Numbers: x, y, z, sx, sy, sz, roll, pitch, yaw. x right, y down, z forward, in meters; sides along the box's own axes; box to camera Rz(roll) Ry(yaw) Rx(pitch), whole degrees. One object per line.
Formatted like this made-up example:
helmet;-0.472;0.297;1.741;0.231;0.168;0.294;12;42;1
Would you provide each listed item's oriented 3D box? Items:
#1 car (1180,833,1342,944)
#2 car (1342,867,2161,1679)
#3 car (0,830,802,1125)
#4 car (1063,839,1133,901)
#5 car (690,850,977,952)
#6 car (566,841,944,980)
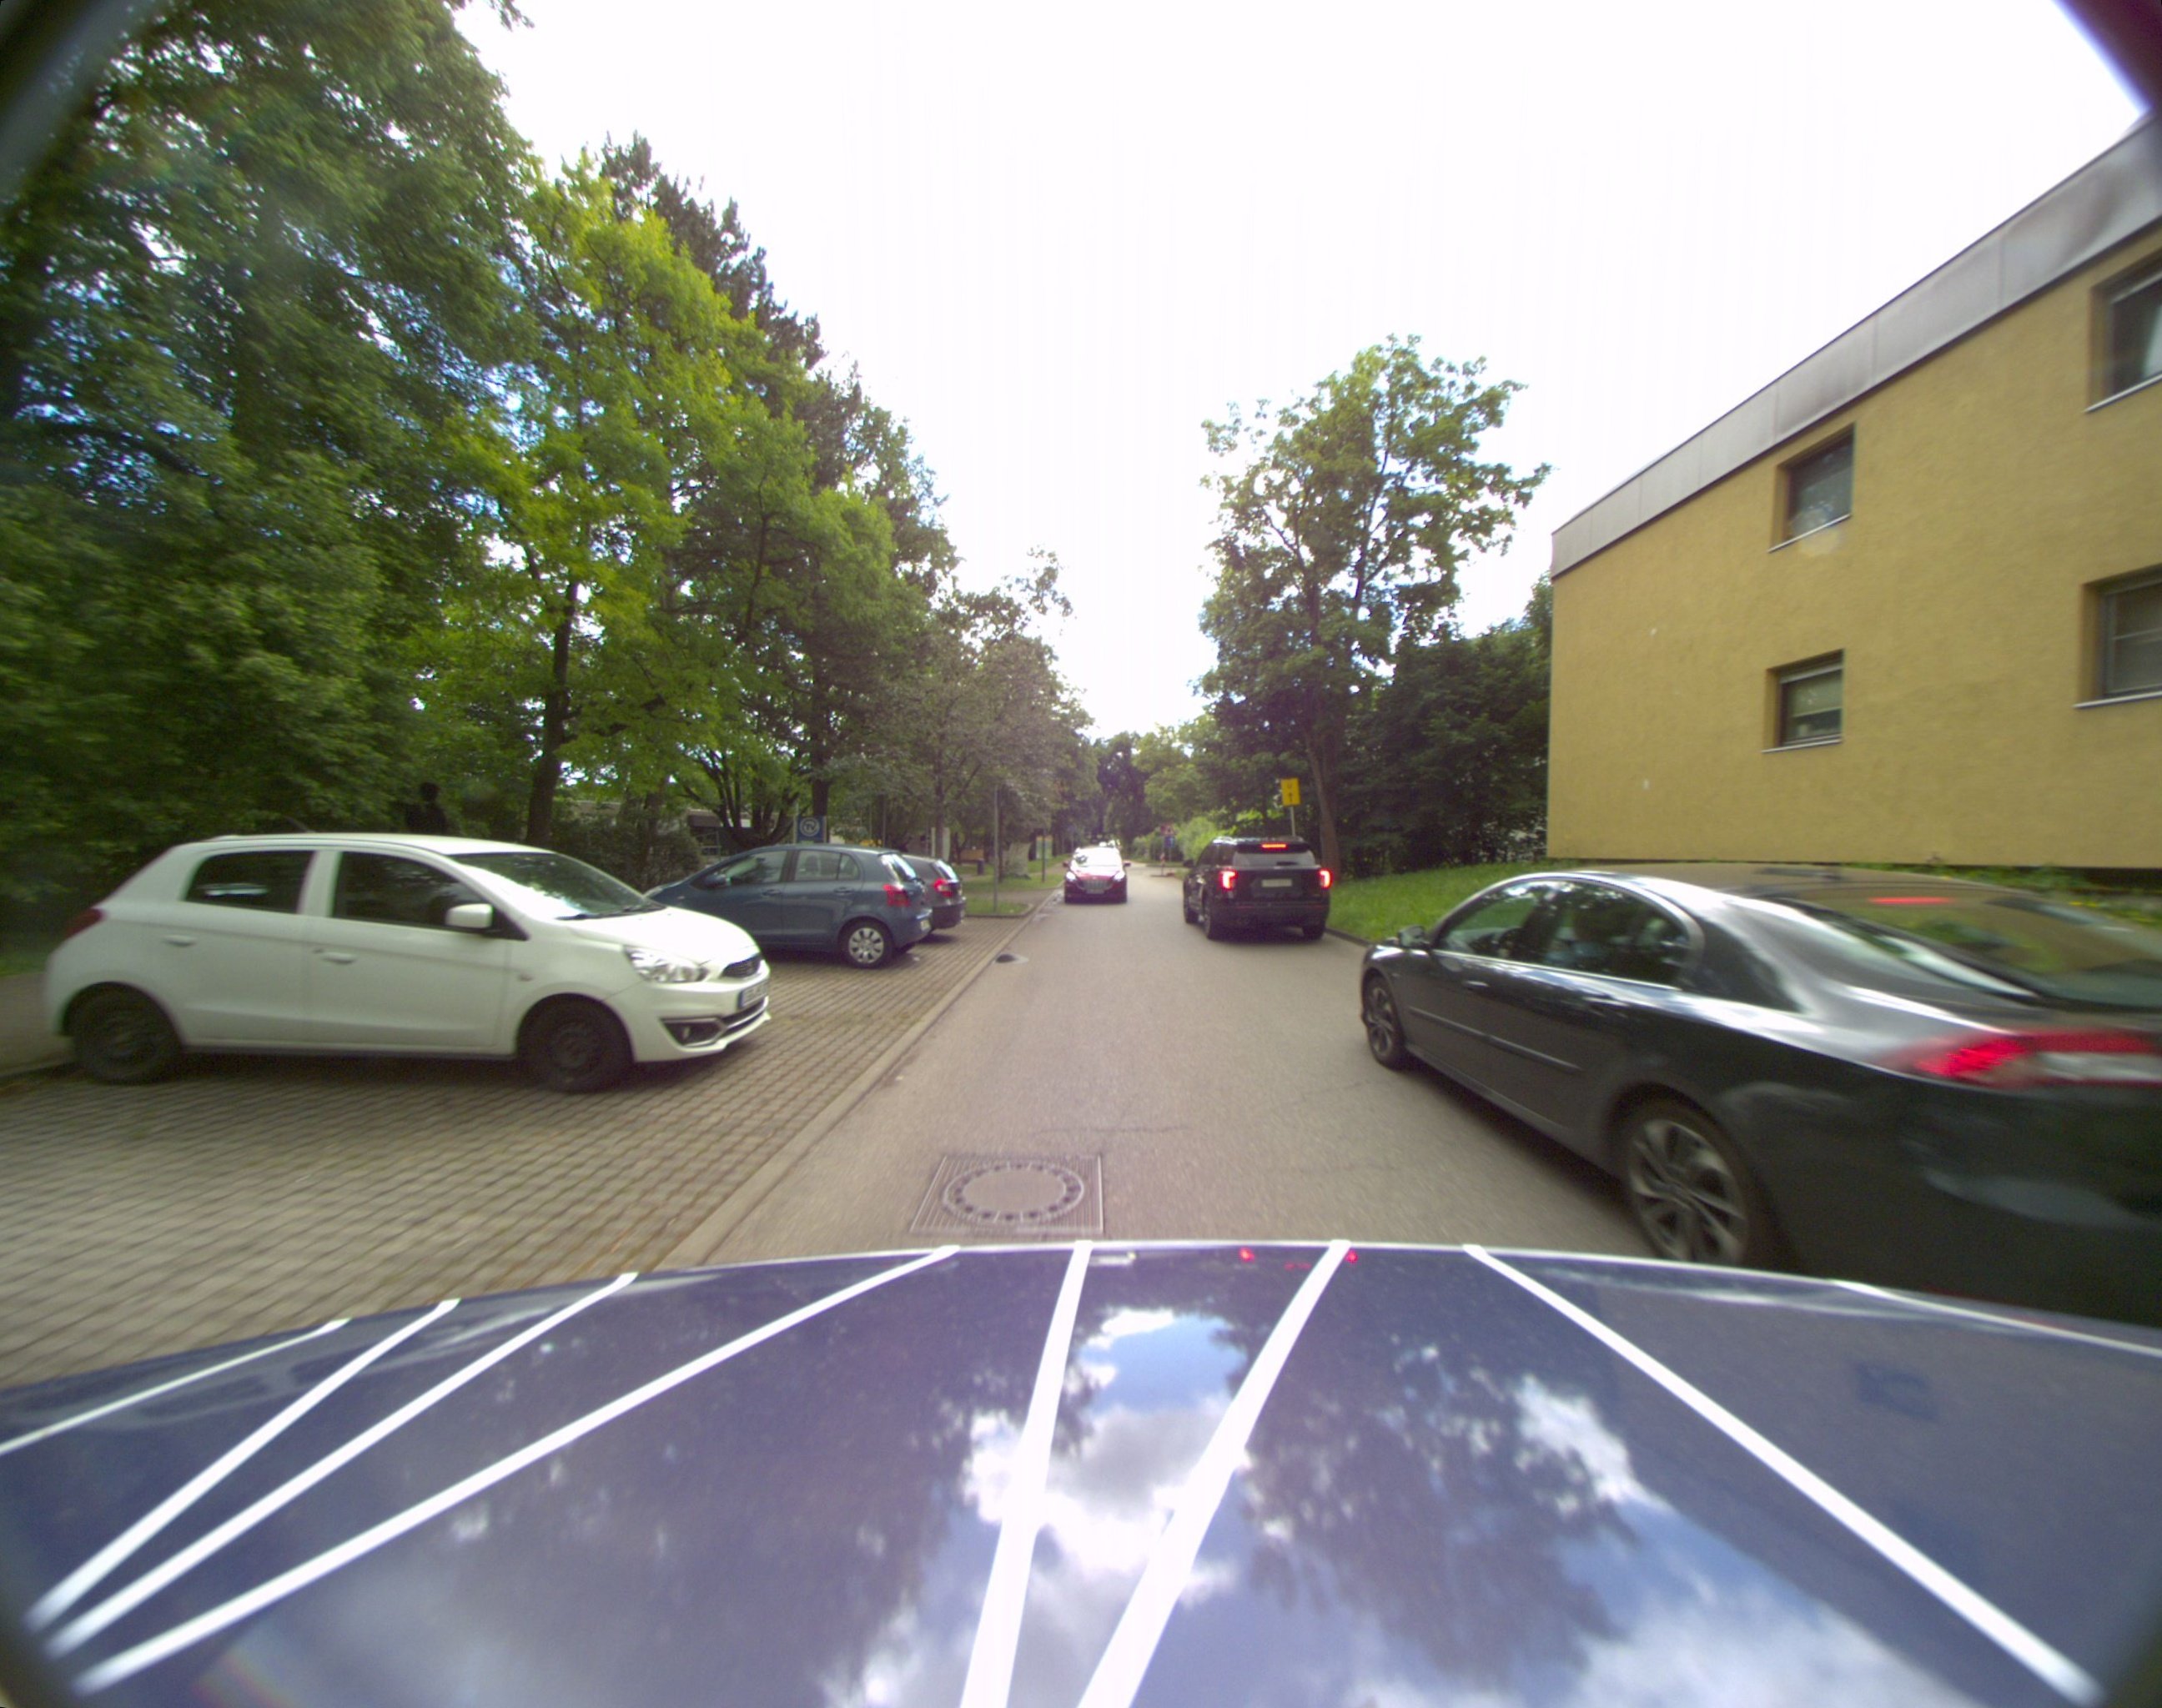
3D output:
car;3.106;0.505;14.256;1.918;1.707;5.058;0;1;1
car;2.945;0.828;3.624;1.918;1.403;4.423;0;1;1
car;-4.273;0.684;5.045;4.170;1.561;1.785;1;1;-3
car;0.526;0.407;23.359;1.918;1.707;5.038;0;1;1
car;-3.889;0.717;12.471;4.096;1.455;1.785;1;1;0
car;-4.043;0.664;9.929;4.145;1.561;1.785;1;1;0
